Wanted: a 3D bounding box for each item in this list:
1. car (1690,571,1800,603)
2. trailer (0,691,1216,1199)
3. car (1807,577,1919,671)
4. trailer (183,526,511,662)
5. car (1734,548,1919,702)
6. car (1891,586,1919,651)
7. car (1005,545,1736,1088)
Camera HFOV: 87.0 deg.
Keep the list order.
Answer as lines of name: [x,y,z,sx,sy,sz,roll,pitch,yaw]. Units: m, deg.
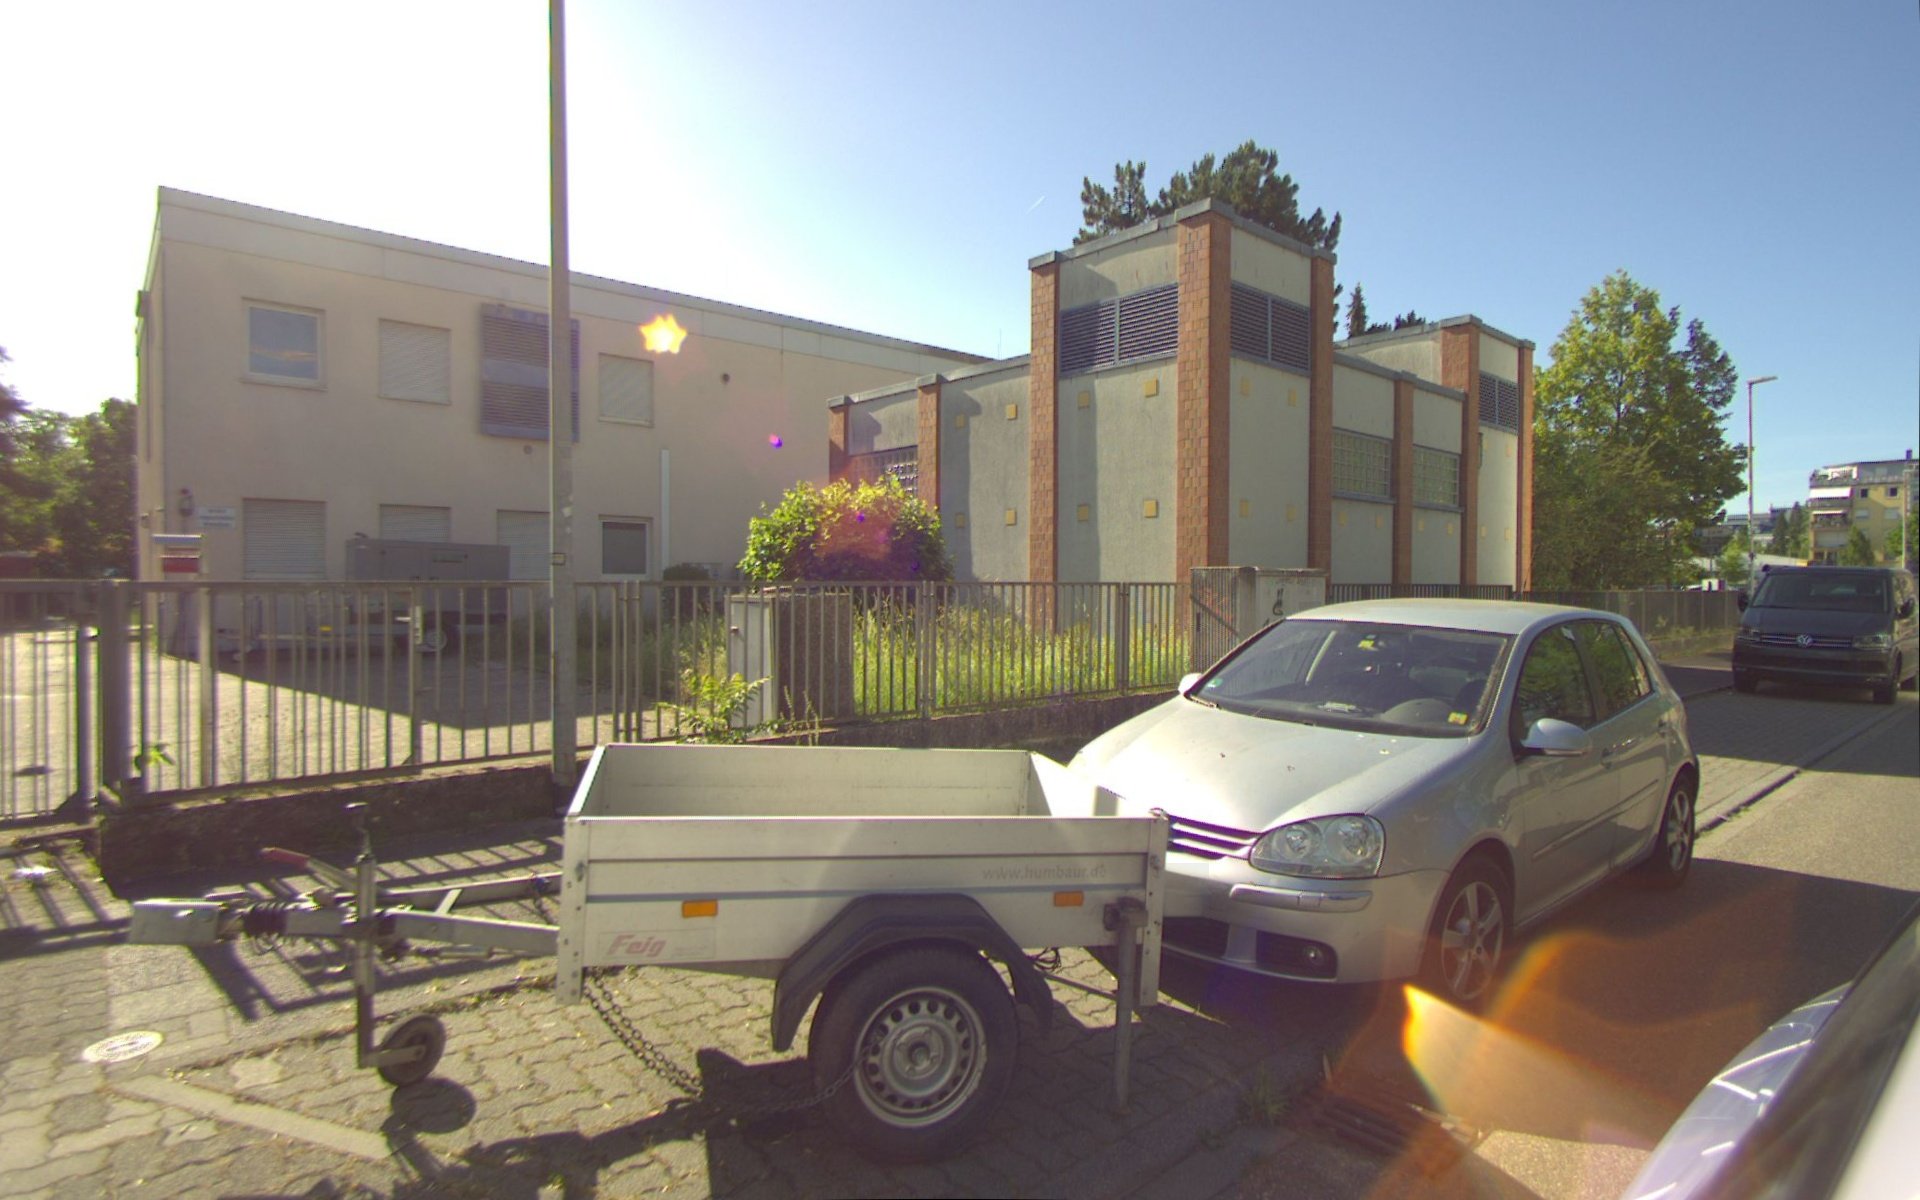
car: [42.633,-0.733,55.046,1.964,1.630,4.423,-1,1,-38]
trailer: [-0.883,0.839,2.989,2.875,0.923,1.379,0,1,-17]
car: [18.658,0.399,20.371,4.220,1.649,1.829,-2,3,-42]
trailer: [-10.739,-0.179,17.938,4.686,2.092,1.997,-2,2,-41]
car: [13.833,0.238,15.734,4.742,2.047,1.947,-2,3,-42]
car: [24.783,0.447,25.445,3.700,1.490,1.655,-2,3,-42]
car: [2.187,0.601,4.840,3.865,1.581,1.663,-1,1,-41]
